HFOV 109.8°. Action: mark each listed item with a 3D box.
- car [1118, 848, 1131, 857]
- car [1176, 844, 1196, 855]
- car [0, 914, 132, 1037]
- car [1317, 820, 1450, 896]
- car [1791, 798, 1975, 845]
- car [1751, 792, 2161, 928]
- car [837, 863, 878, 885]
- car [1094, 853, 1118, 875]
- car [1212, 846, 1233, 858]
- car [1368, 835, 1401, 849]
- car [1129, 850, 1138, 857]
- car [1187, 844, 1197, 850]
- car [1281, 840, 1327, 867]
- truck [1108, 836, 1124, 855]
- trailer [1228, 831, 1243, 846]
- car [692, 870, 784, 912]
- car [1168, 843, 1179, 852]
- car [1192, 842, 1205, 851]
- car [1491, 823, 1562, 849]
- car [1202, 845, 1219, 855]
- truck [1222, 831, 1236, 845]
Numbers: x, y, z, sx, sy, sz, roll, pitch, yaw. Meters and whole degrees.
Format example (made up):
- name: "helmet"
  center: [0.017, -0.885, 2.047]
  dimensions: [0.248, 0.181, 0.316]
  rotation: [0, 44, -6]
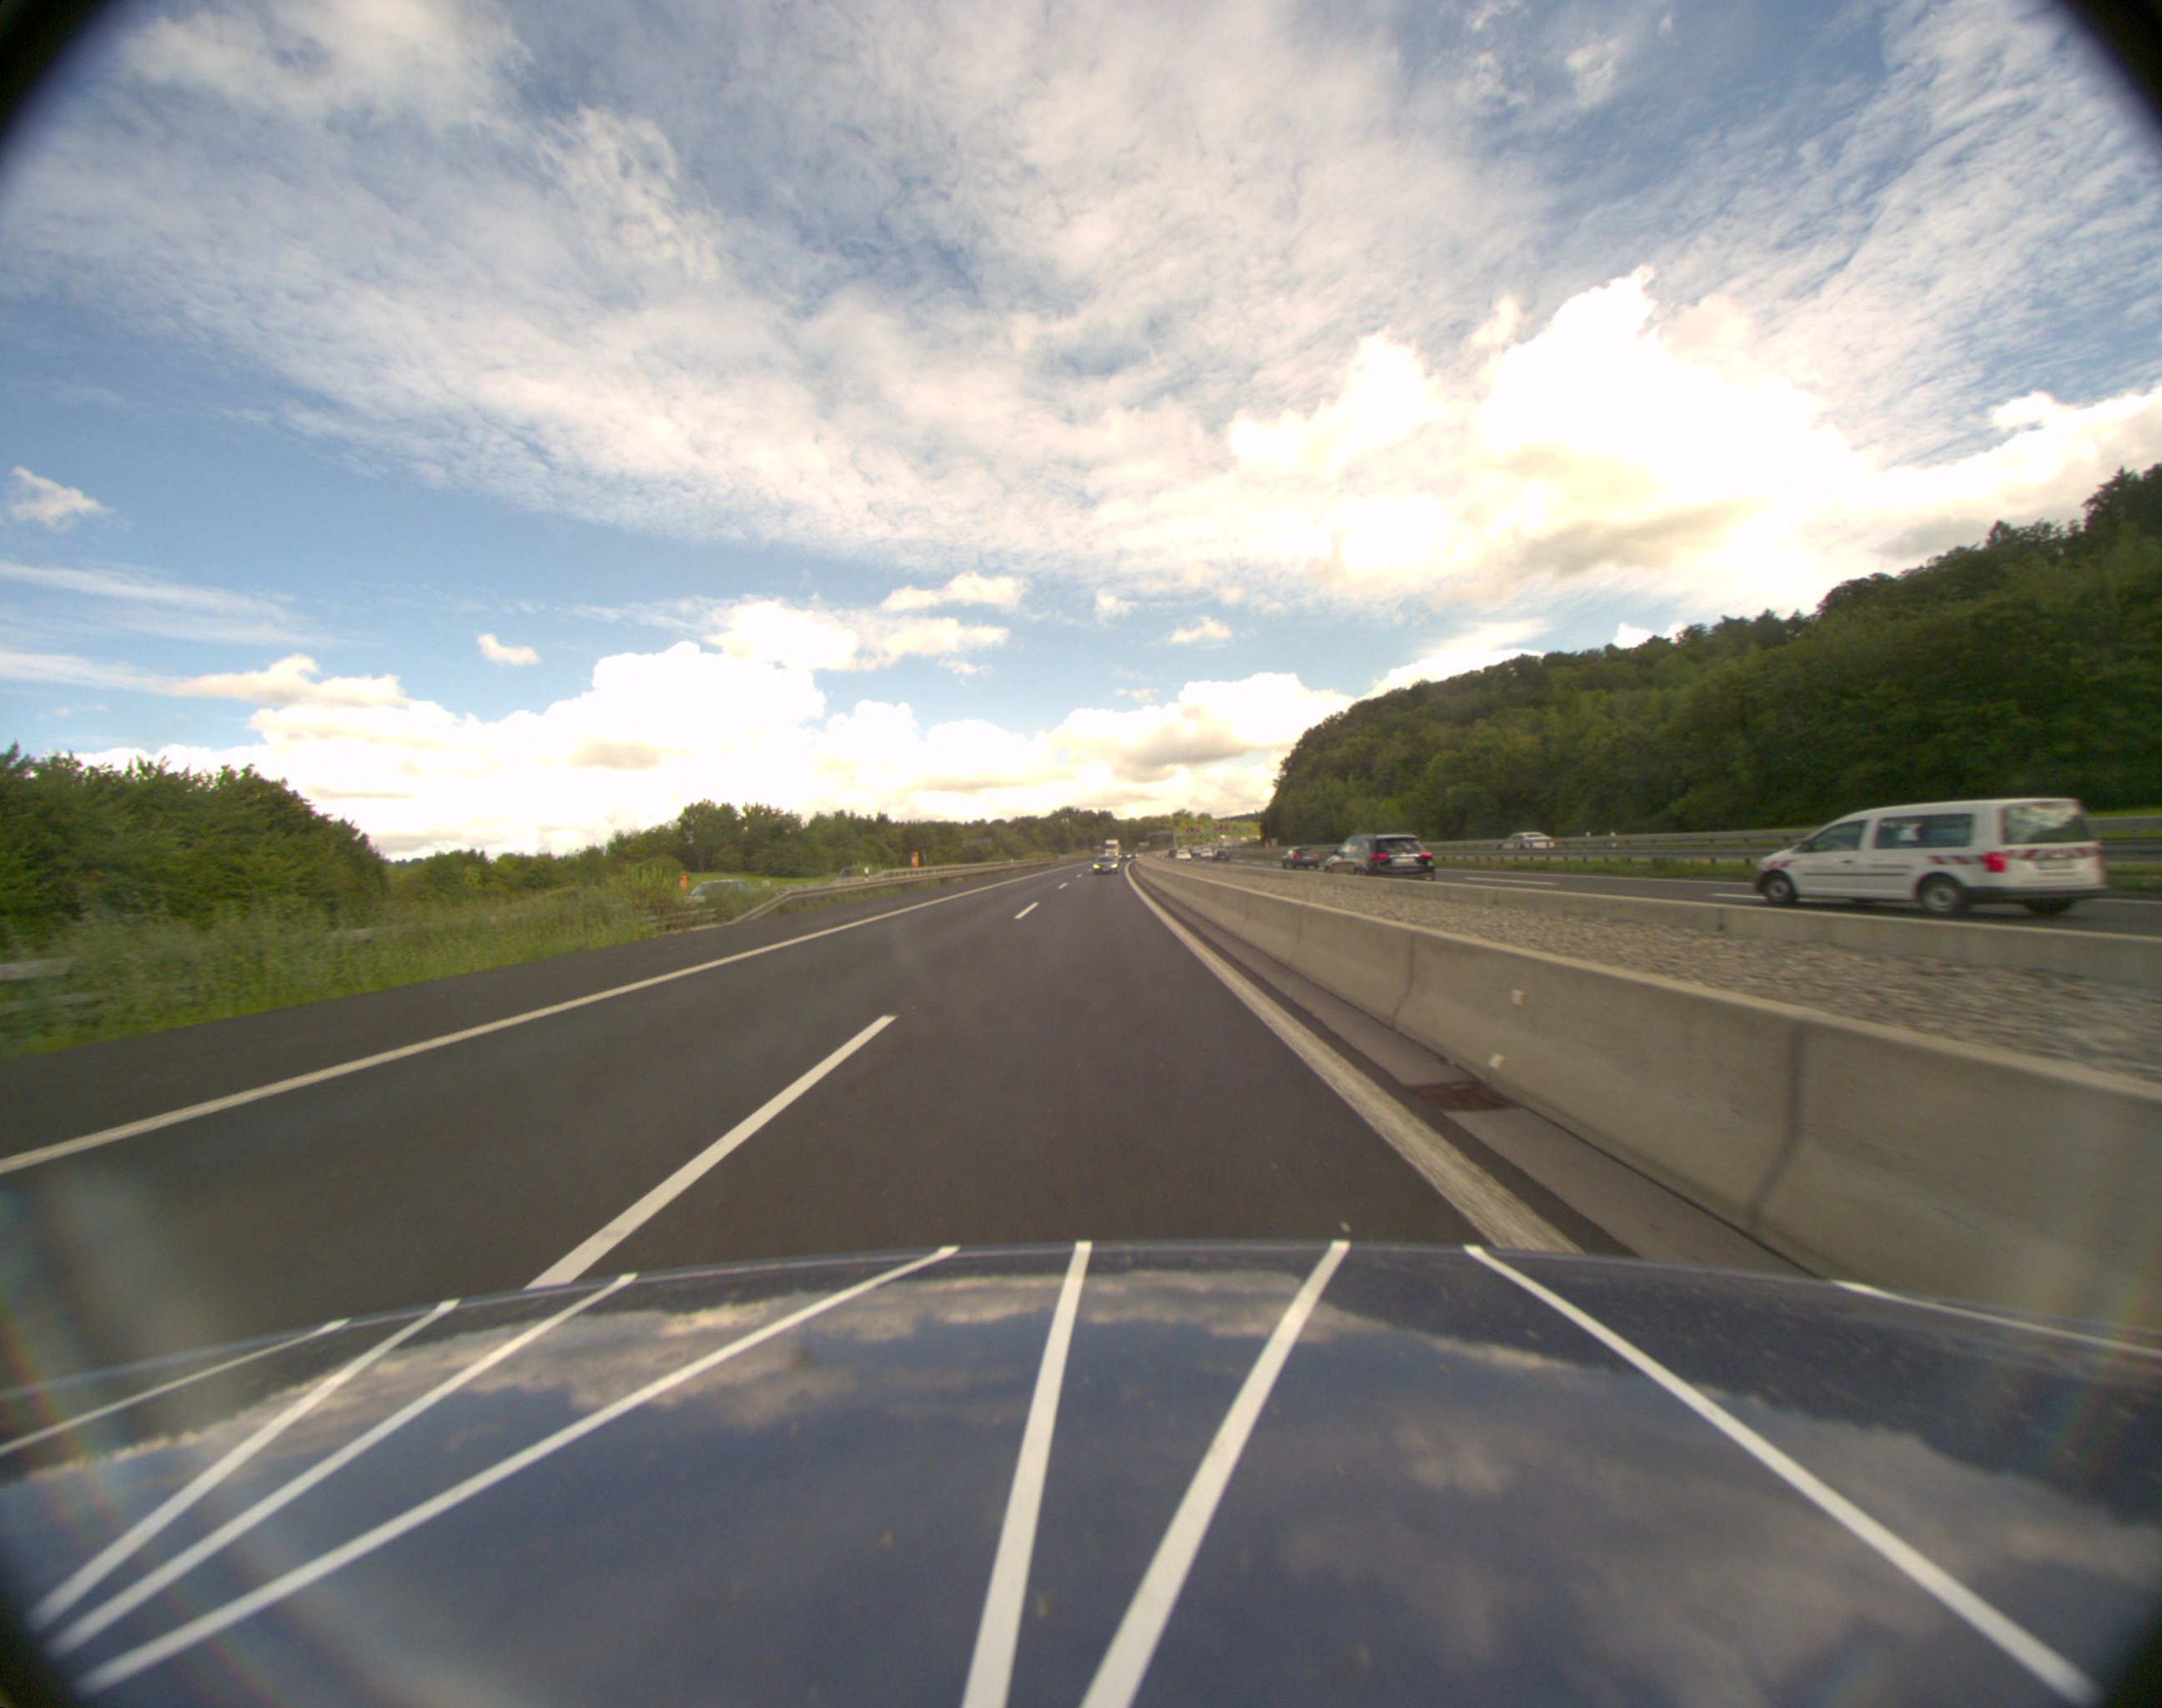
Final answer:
- name: "car"
  center: [7.743, -0.242, 134.545]
  dimensions: [1.998, 1.464, 4.000]
  rotation: [-3, 1, 5]
- name: "car"
  center: [13.860, -0.623, 101.020]
  dimensions: [2.050, 1.329, 5.608]
  rotation: [-2, 0, 2]
- name: "car"
  center: [-15.842, 1.783, 9.706]
  dimensions: [1.788, 1.562, 4.344]
  rotation: [-3, 1, 3]
- name: "car"
  center: [8.855, 0.099, 22.787]
  dimensions: [1.998, 1.909, 5.149]
  rotation: [-3, 0, 2]
- name: "car"
  center: [36.396, -1.430, 34.723]
  dimensions: [2.403, 1.761, 5.235]
  rotation: [-3, 0, -20]
- name: "car"
  center: [14.087, 0.072, 12.684]
  dimensions: [1.999, 1.804, 4.240]
  rotation: [-3, 0, 0]
- name: "car"
  center: [-17.916, 1.596, 61.066]
  dimensions: [1.788, 1.562, 4.344]
  rotation: [-3, 1, 3]
- name: "car"
  center: [2.013, 0.779, 60.393]
  dimensions: [1.662, 1.464, 4.000]
  rotation: [-3, 1, 4]
- name: "car"
  center: [17.216, -0.245, 92.388]
  dimensions: [1.873, 1.329, 4.229]
  rotation: [-2, 0, 2]
- name: "car"
  center: [33.537, -1.347, 84.079]
  dimensions: [1.787, 1.423, 4.624]
  rotation: [-3, 0, -1]
- name: "car"
  center: [11.506, -0.179, 166.471]
  dimensions: [1.998, 1.464, 4.001]
  rotation: [-3, 1, 5]
- name: "car"
  center: [27.259, -1.770, 186.217]
  dimensions: [1.998, 1.394, 4.814]
  rotation: [-2, 0, 3]
- name: "car"
  center: [14.922, -0.057, 51.081]
  dimensions: [1.998, 1.681, 4.373]
  rotation: [-3, 0, 3]
- name: "truck"
  center: [7.578, -1.905, 164.959]
  dimensions: [2.795, 3.563, 11.458]
  rotation: [-2, 2, 6]
- name: "trailer"
  center: [48.348, -4.962, 237.677]
  dimensions: [3.328, 4.269, 12.142]
  rotation: [-2, 2, 7]
- name: "car"
  center: [-15.336, 1.617, 34.282]
  dimensions: [1.788, 1.510, 4.676]
  rotation: [-3, 1, 2]
- name: "car"
  center: [18.279, -1.331, 150.275]
  dimensions: [1.890, 1.774, 4.953]
  rotation: [-2, 0, 3]
- name: "car"
  center: [23.115, -1.488, 149.277]
  dimensions: [1.890, 1.600, 4.966]
  rotation: [-2, 0, 3]
- name: "car"
  center: [32.800, -1.282, 56.102]
  dimensions: [1.941, 1.662, 5.222]
  rotation: [-3, 0, -3]
- name: "car"
  center: [19.977, -0.651, 117.365]
  dimensions: [1.890, 1.421, 4.578]
  rotation: [-2, 0, 3]
- name: "truck"
  center: [43.923, -4.723, 225.288]
  dimensions: [2.908, 3.946, 10.465]
  rotation: [-2, 2, 6]
